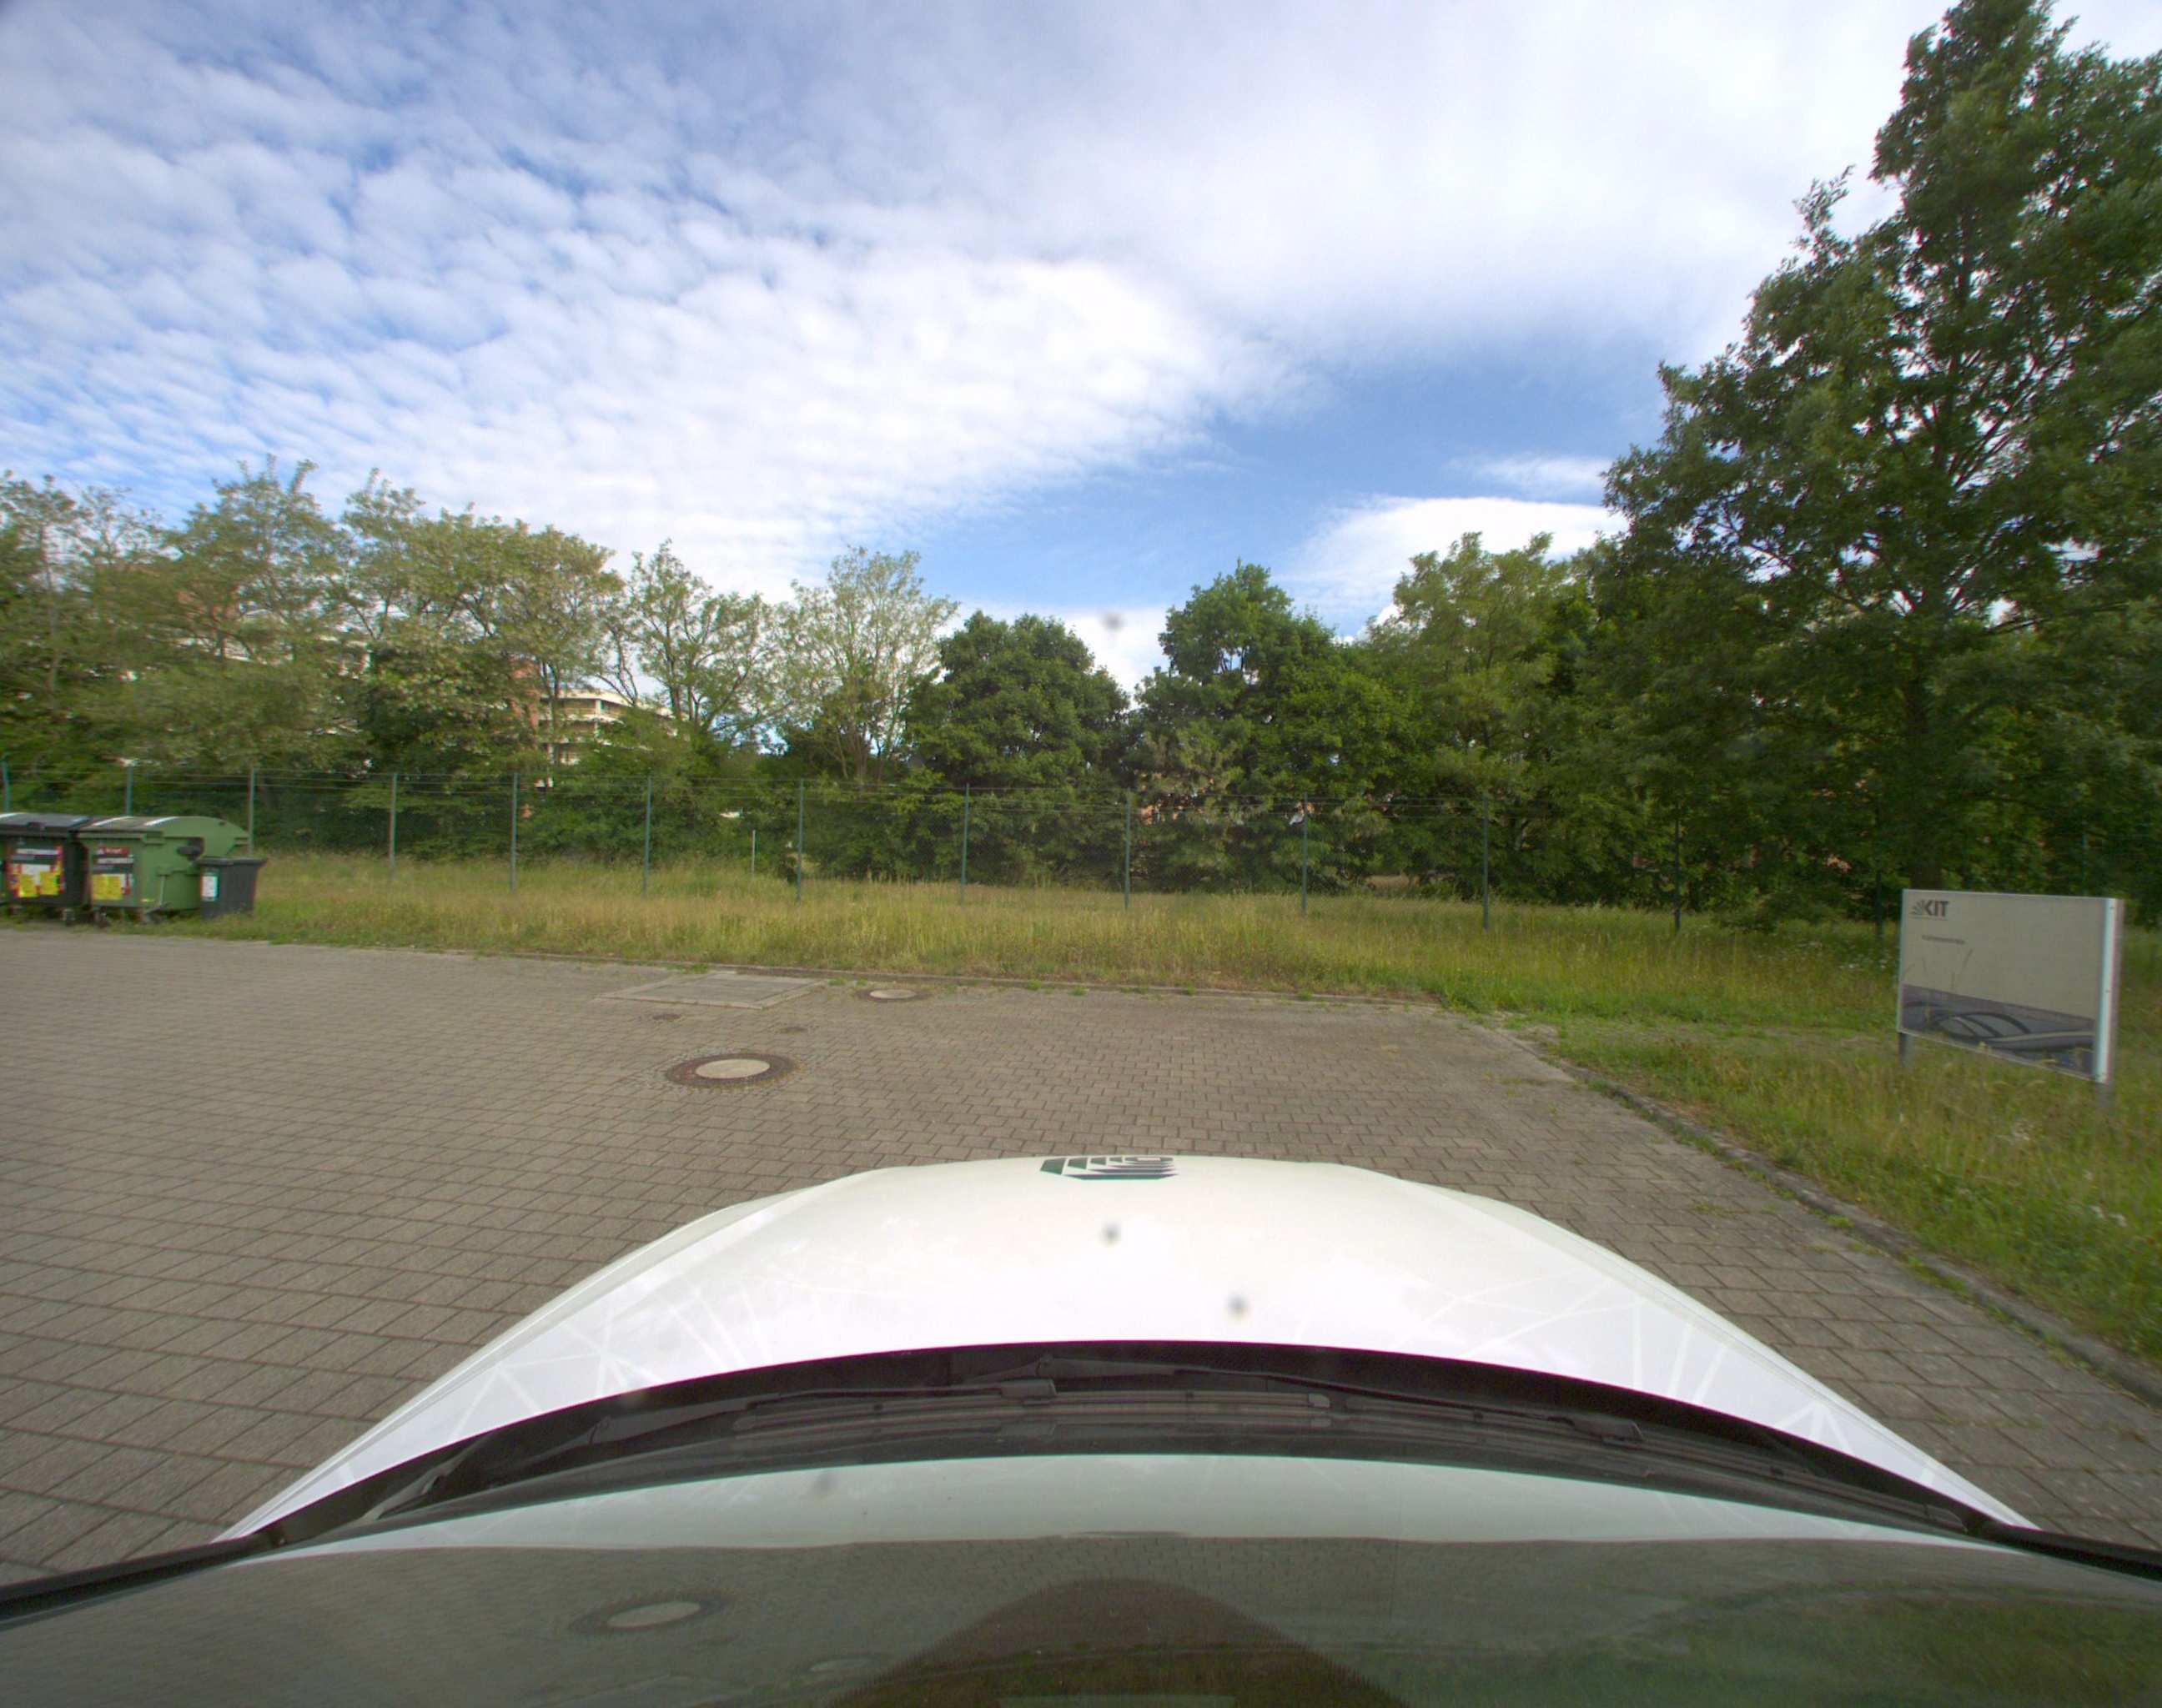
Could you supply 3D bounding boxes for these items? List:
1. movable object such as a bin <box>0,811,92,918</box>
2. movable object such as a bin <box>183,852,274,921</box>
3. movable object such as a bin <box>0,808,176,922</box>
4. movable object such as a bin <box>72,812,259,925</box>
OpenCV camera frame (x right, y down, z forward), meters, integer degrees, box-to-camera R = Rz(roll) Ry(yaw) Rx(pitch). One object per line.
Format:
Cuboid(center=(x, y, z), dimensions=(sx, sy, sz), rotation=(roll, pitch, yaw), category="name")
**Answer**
Cuboid(center=(-14.723, 0.130, 11.052), dimensions=(1.372, 1.406, 1.076), rotation=(1, 0, 10), category="movable object such as a bin")
Cuboid(center=(-11.122, 0.412, 10.633), dimensions=(0.579, 0.866, 0.604), rotation=(1, -1, 16), category="movable object such as a bin")
Cuboid(center=(-13.405, 0.140, 10.935), dimensions=(1.385, 1.435, 1.076), rotation=(1, 0, 10), category="movable object such as a bin")
Cuboid(center=(-12.065, 0.173, 10.771), dimensions=(1.342, 1.395, 1.137), rotation=(1, 0, 16), category="movable object such as a bin")
